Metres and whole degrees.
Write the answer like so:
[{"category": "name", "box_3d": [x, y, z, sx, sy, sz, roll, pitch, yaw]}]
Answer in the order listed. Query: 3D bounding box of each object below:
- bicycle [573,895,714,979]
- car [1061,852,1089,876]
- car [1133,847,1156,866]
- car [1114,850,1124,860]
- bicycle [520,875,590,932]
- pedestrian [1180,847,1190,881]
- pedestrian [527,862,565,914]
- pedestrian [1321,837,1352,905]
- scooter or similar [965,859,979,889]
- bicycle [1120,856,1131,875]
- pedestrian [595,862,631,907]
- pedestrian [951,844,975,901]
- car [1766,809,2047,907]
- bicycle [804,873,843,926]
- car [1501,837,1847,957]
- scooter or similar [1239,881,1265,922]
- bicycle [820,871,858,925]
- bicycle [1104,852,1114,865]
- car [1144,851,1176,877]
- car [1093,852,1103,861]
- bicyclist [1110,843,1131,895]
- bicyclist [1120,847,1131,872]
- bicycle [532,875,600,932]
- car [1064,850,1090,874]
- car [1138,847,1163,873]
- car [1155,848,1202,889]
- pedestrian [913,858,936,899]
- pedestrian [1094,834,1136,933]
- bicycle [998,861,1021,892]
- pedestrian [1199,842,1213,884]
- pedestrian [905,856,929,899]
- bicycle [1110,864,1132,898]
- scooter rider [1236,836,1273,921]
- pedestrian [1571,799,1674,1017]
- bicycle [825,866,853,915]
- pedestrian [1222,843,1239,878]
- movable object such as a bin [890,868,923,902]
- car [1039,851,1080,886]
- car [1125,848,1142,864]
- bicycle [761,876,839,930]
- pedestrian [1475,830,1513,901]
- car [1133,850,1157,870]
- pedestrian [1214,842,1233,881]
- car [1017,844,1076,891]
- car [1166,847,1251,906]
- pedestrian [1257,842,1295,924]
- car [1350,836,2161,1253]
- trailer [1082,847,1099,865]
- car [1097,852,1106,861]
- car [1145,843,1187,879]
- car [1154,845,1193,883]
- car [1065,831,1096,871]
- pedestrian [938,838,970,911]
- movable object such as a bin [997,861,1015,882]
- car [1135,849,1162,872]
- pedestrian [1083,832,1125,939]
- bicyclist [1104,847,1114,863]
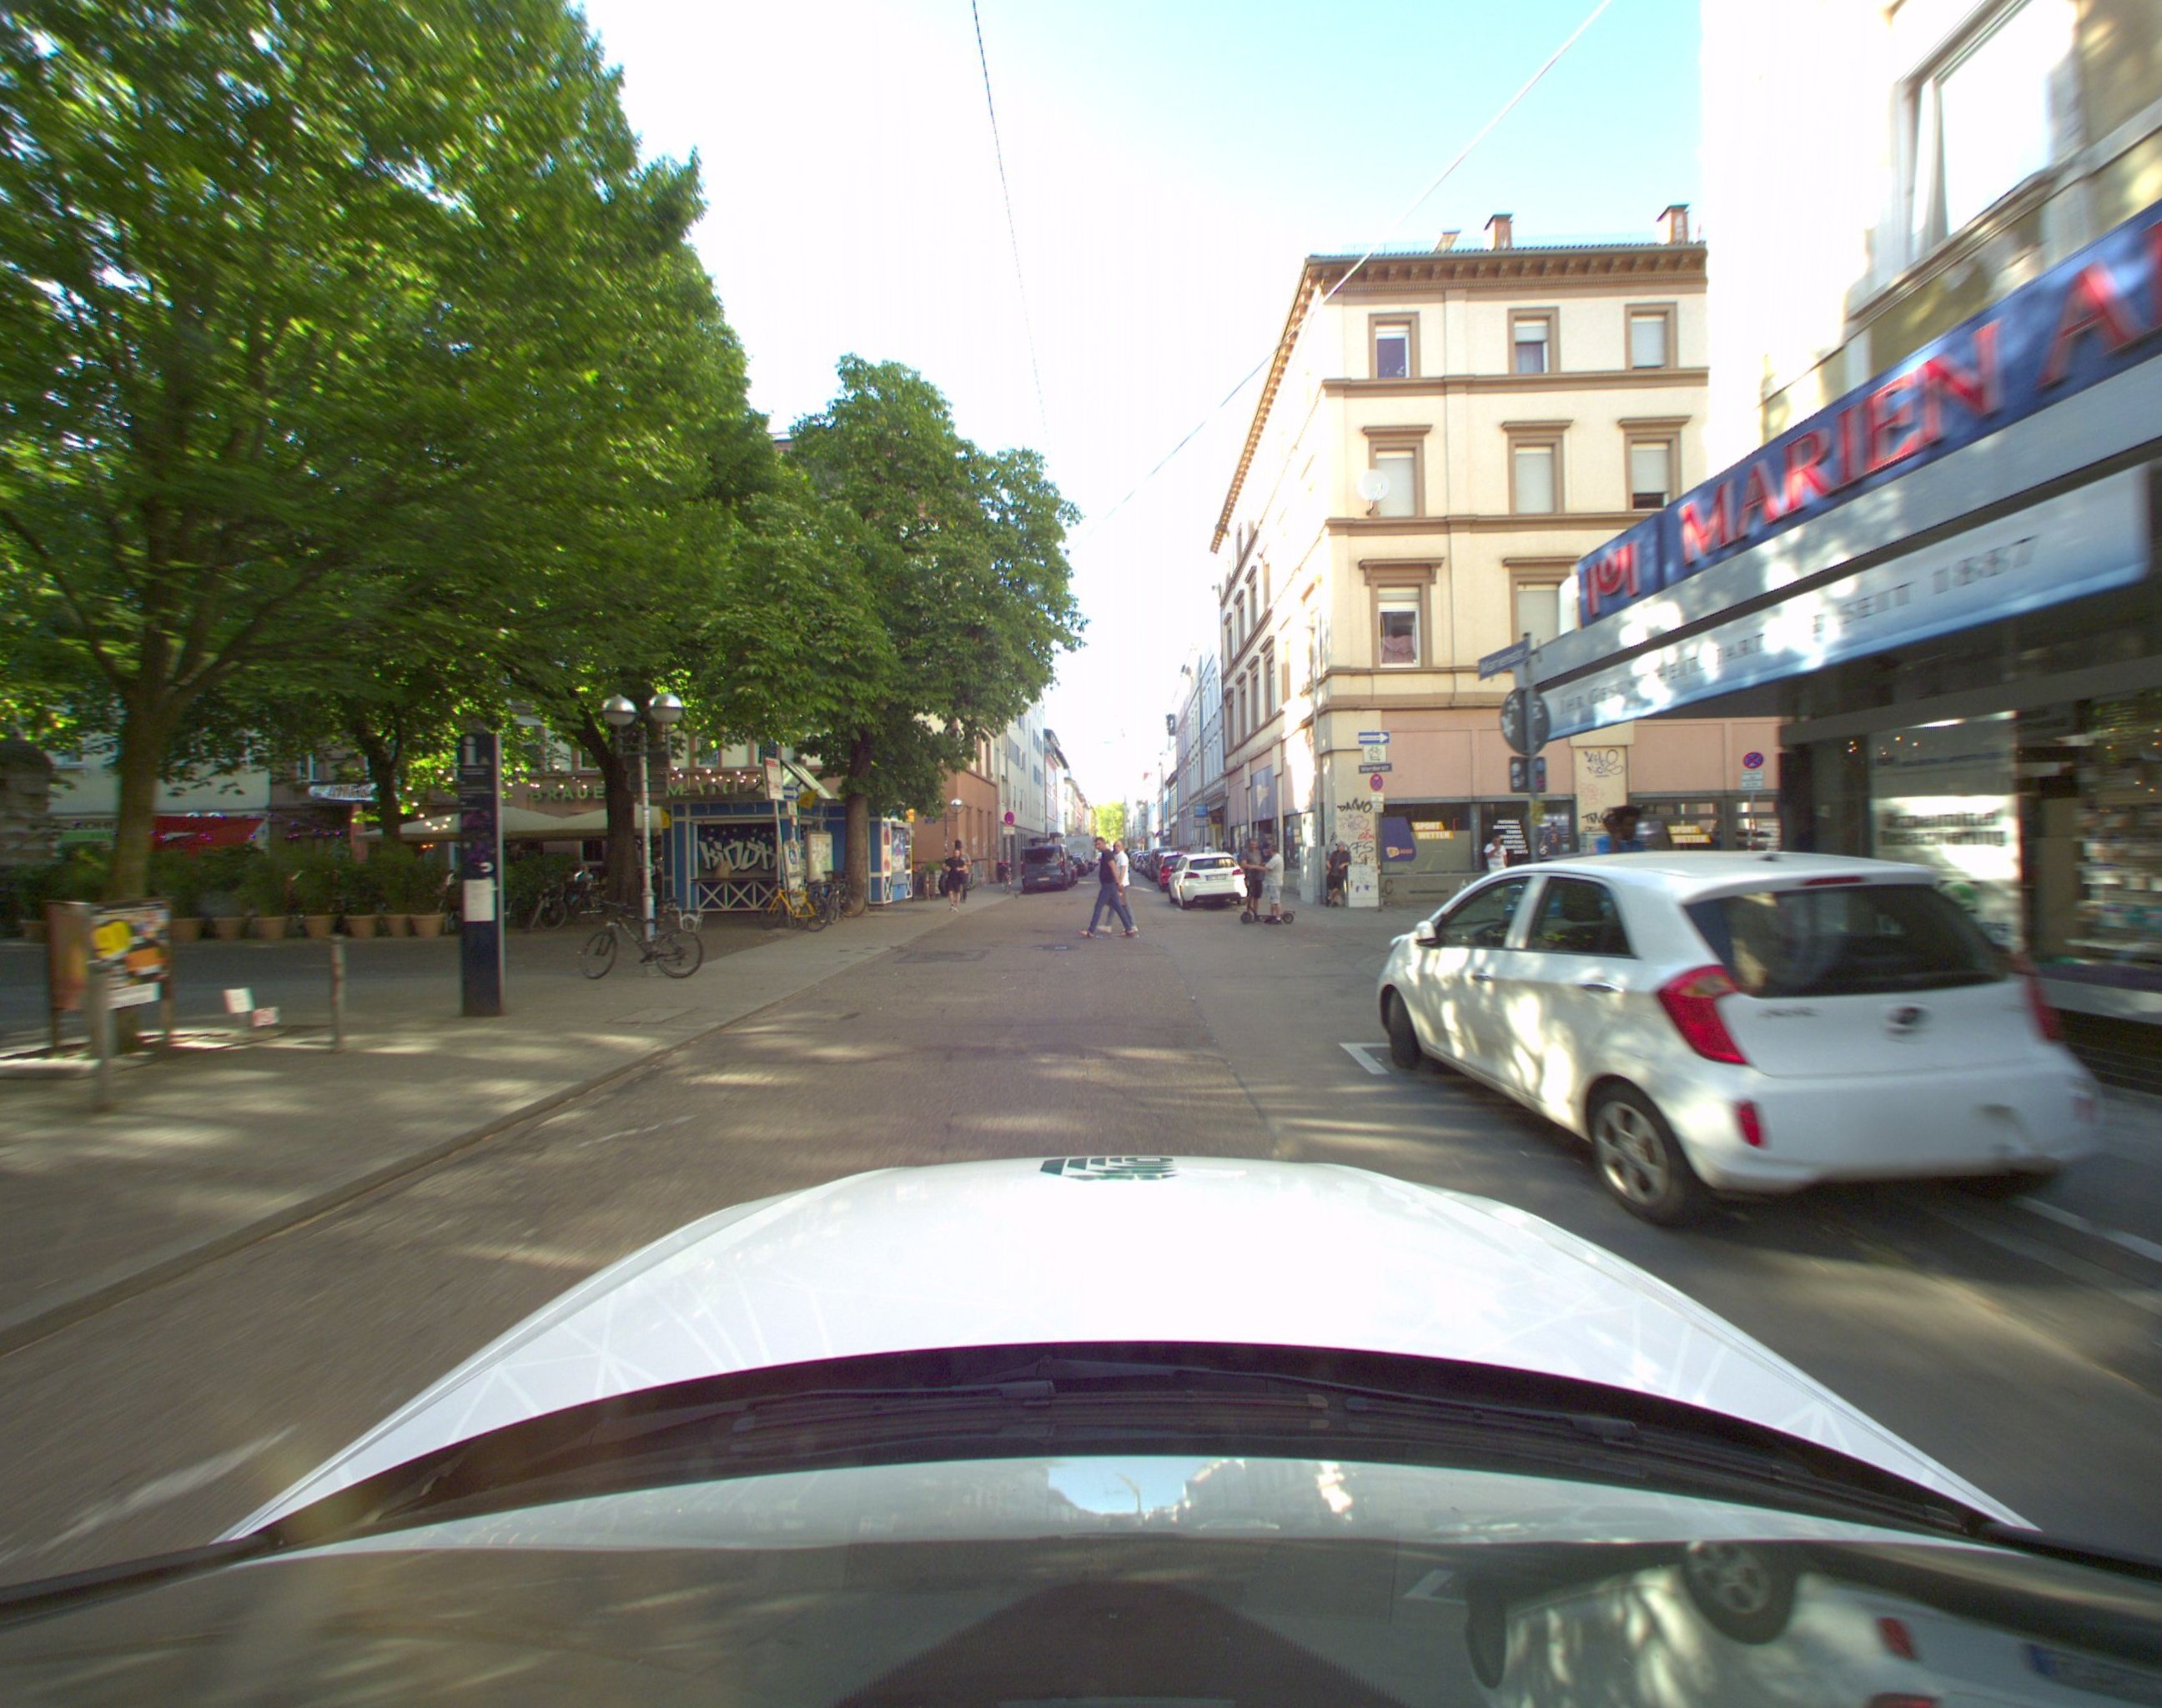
[{"category": "bicycle", "box_3d": [-5.808, 1.093, 10.840, 1.684, 1.065, 0.346, 0, -1, 0]}, {"category": "car", "box_3d": [-0.391, 0.676, 57.159, 1.710, 1.478, 4.501, -4, 1, 2]}, {"category": "car", "box_3d": [5.931, 0.230, 76.410, 1.911, 1.706, 4.368, -1, 0, 2]}, {"category": "car", "box_3d": [6.272, 0.138, 133.449, 1.605, 1.560, 3.612, -1, 0, 2]}, {"category": "bicycle", "box_3d": [-11.703, 1.074, 18.191, 0.227, 1.091, 1.938, 0, 2, 2]}, {"category": "pedestrian", "box_3d": [5.209, 0.491, 40.863, 0.439, 1.704, 0.655, 0, -1, 2]}, {"category": "pedestrian", "box_3d": [-13.978, 0.882, 21.281, 0.566, 1.321, 0.634, 0, -1, 1]}, {"category": "pedestrian", "box_3d": [6.351, 0.418, 20.217, 0.593, 1.650, 0.468, -1, 2, 33]}, {"category": "scooter or similar", "box_3d": [-4.568, 0.824, 34.129, 0.346, 1.216, 1.392, 0, -1, 2]}, {"category": "bicycle", "box_3d": [2.746, 0.704, 50.314, 0.646, 1.129, 2.137, 0, 0, 2]}, {"category": "pedestrian", "box_3d": [-13.929, 0.913, 24.251, 0.693, 1.321, 0.615, 0, -1, 10]}, {"category": "pedestrian", "box_3d": [-3.862, 0.613, 26.692, 0.644, 1.833, 0.698, 1, -1, 1]}, {"category": "car", "box_3d": [17.031, 0.040, 16.975, 3.910, 1.840, 1.870, -1, 2, 2]}, {"category": "bicycle", "box_3d": [-5.650, 0.972, 17.958, 0.291, 1.046, 1.579, 0, 1, 2]}, {"category": "car", "box_3d": [8.193, 0.567, 11.527, 3.560, 1.486, 1.790, -1, 0, 2]}, {"category": "scooter or similar", "box_3d": [3.657, 1.004, 17.431, 0.392, 0.828, 0.926, 0, -1, 3]}, {"category": "bicycle", "box_3d": [-5.327, 0.951, 17.970, 0.291, 1.082, 1.579, 0, 1, 2]}, {"category": "bicycle", "box_3d": [2.902, 0.428, 84.371, 0.973, 1.314, 2.558, -3, 0, 3]}, {"category": "car", "box_3d": [4.726, 0.580, 48.908, 1.547, 1.511, 3.610, 0, 0, -1]}, {"category": "car", "box_3d": [3.342, 0.420, 156.528, 1.743, 1.683, 3.797, -2, -1, 2]}, {"category": "bicyclist", "box_3d": [1.307, 0.484, 26.870, 0.665, 1.676, 1.097, 0, -1, 1]}, {"category": "bicyclist", "box_3d": [2.753, 0.330, 50.250, 0.668, 1.567, 0.717, 0, -1, 2]}, {"category": "bicycle", "box_3d": [-11.448, 1.076, 18.177, 0.227, 1.091, 1.938, 0, 2, 2]}, {"category": "car", "box_3d": [-0.272, 0.605, 62.746, 1.710, 1.650, 4.247, -4, 1, 2]}, {"category": "car", "box_3d": [4.818, 0.419, 57.113, 1.550, 1.712, 3.560, 0, 0, 2]}, {"category": "car", "box_3d": [3.951, 0.572, 33.315, 1.600, 1.572, 3.555, 0, 0, 2]}, {"category": "pedestrian", "box_3d": [-5.550, 0.850, 28.936, 0.703, 1.445, 0.617, 0, -1, 1]}, {"category": "pedestrian", "box_3d": [0.635, 0.547, 15.442, 0.759, 1.835, 0.688, 0, -1, 0]}, {"category": "bicycle", "box_3d": [-2.903, 0.879, 32.936, 0.551, 1.216, 1.978, 0, -1, -15]}, {"category": "pedestrian", "box_3d": [5.185, 0.384, 33.696, 0.558, 1.740, 0.428, 0, -1, 7]}, {"category": "pedestrian", "box_3d": [-5.683, 0.812, 28.276, 0.703, 1.445, 0.617, 0, -1, 1]}, {"category": "bicycle", "box_3d": [1.308, 0.867, 26.871, 0.674, 1.074, 1.942, 0, 0, 2]}, {"category": "scooter rider", "box_3d": [3.757, 0.520, 17.625, 0.558, 1.778, 0.615, -1, -1, 37]}, {"category": "pedestrian", "box_3d": [4.886, 0.471, 7.373, 0.559, 1.894, 0.530, 0, -1, 1]}, {"category": "bicycle", "box_3d": [-6.167, 0.903, 20.818, 0.497, 1.131, 2.030, 0, 0, -11]}, {"category": "pedestrian", "box_3d": [6.604, 0.307, 36.063, 0.586, 1.529, 0.658, 0, -1, -4]}, {"category": "movable object such as a bin", "box_3d": [-5.689, 1.000, 26.602, 0.866, 1.086, 0.774, 0, -1, 2]}, {"category": "car", "box_3d": [-1.034, 0.719, 41.104, 1.744, 1.522, 3.871, -4, -1, 2]}, {"category": "car", "box_3d": [6.455, 0.242, 99.663, 1.745, 1.879, 3.971, -2, -1, 0]}, {"category": "bicycle", "box_3d": [-5.751, 0.992, 16.665, 1.562, 1.082, 0.348, 0, -1, 12]}, {"category": "pedestrian", "box_3d": [10.206, 0.286, 20.116, 0.688, 1.726, 0.475, 0, -1, 1]}, {"category": "car", "box_3d": [5.299, 0.528, 67.907, 1.680, 1.543, 4.047, -3, -1, 2]}, {"category": "pedestrian", "box_3d": [6.447, 0.339, 36.837, 0.628, 1.740, 0.656, 0, -1, -11]}, {"category": "car", "box_3d": [-1.411, 0.515, 35.660, 2.012, 1.879, 5.302, 0, 0, 3]}, {"category": "car", "box_3d": [3.536, 0.598, 23.259, 1.781, 1.516, 4.136, 0, 0, 0]}, {"category": "pedestrian", "box_3d": [4.020, 0.588, 16.810, 0.568, 1.638, 0.522, 0, -1, -44]}, {"category": "car", "box_3d": [3.018, 0.684, 4.724, 1.684, 1.463, 3.639, 0, 0, -1]}, {"category": "trailer", "box_3d": [1.230, 0.265, 103.069, 1.875, 2.092, 3.739, -2, -1, 2]}, {"category": "car", "box_3d": [4.449, 0.450, 173.880, 1.743, 1.821, 3.797, -2, -1, 2]}, {"category": "car", "box_3d": [4.515, 0.370, 43.821, 1.892, 1.793, 4.316, 0, 0, 2]}, {"category": "car", "box_3d": [4.265, 0.467, 37.905, 1.563, 1.557, 3.317, -4, -1, 4]}, {"category": "car", "box_3d": [0.023, -0.207, 73.713, 2.334, 3.291, 7.159, -3, -1, 3]}, {"category": "pedestrian", "box_3d": [-3.352, 0.530, 21.494, 0.713, 1.873, 0.720, 0, -1, 1]}, {"category": "movable object such as a bin", "box_3d": [-3.933, 0.926, 42.750, 0.752, 1.067, 0.655, -1, -1, 22]}, {"category": "car", "box_3d": [5.109, 0.502, 61.877, 1.690, 1.543, 4.630, -3, -1, 2]}, {"category": "pedestrian", "box_3d": [0.399, 0.545, 14.608, 0.691, 1.825, 1.003, -1, 0, 0]}, {"category": "bicyclist", "box_3d": [2.886, 0.105, 84.139, 0.946, 1.628, 0.954, -3, 0, 3]}]
